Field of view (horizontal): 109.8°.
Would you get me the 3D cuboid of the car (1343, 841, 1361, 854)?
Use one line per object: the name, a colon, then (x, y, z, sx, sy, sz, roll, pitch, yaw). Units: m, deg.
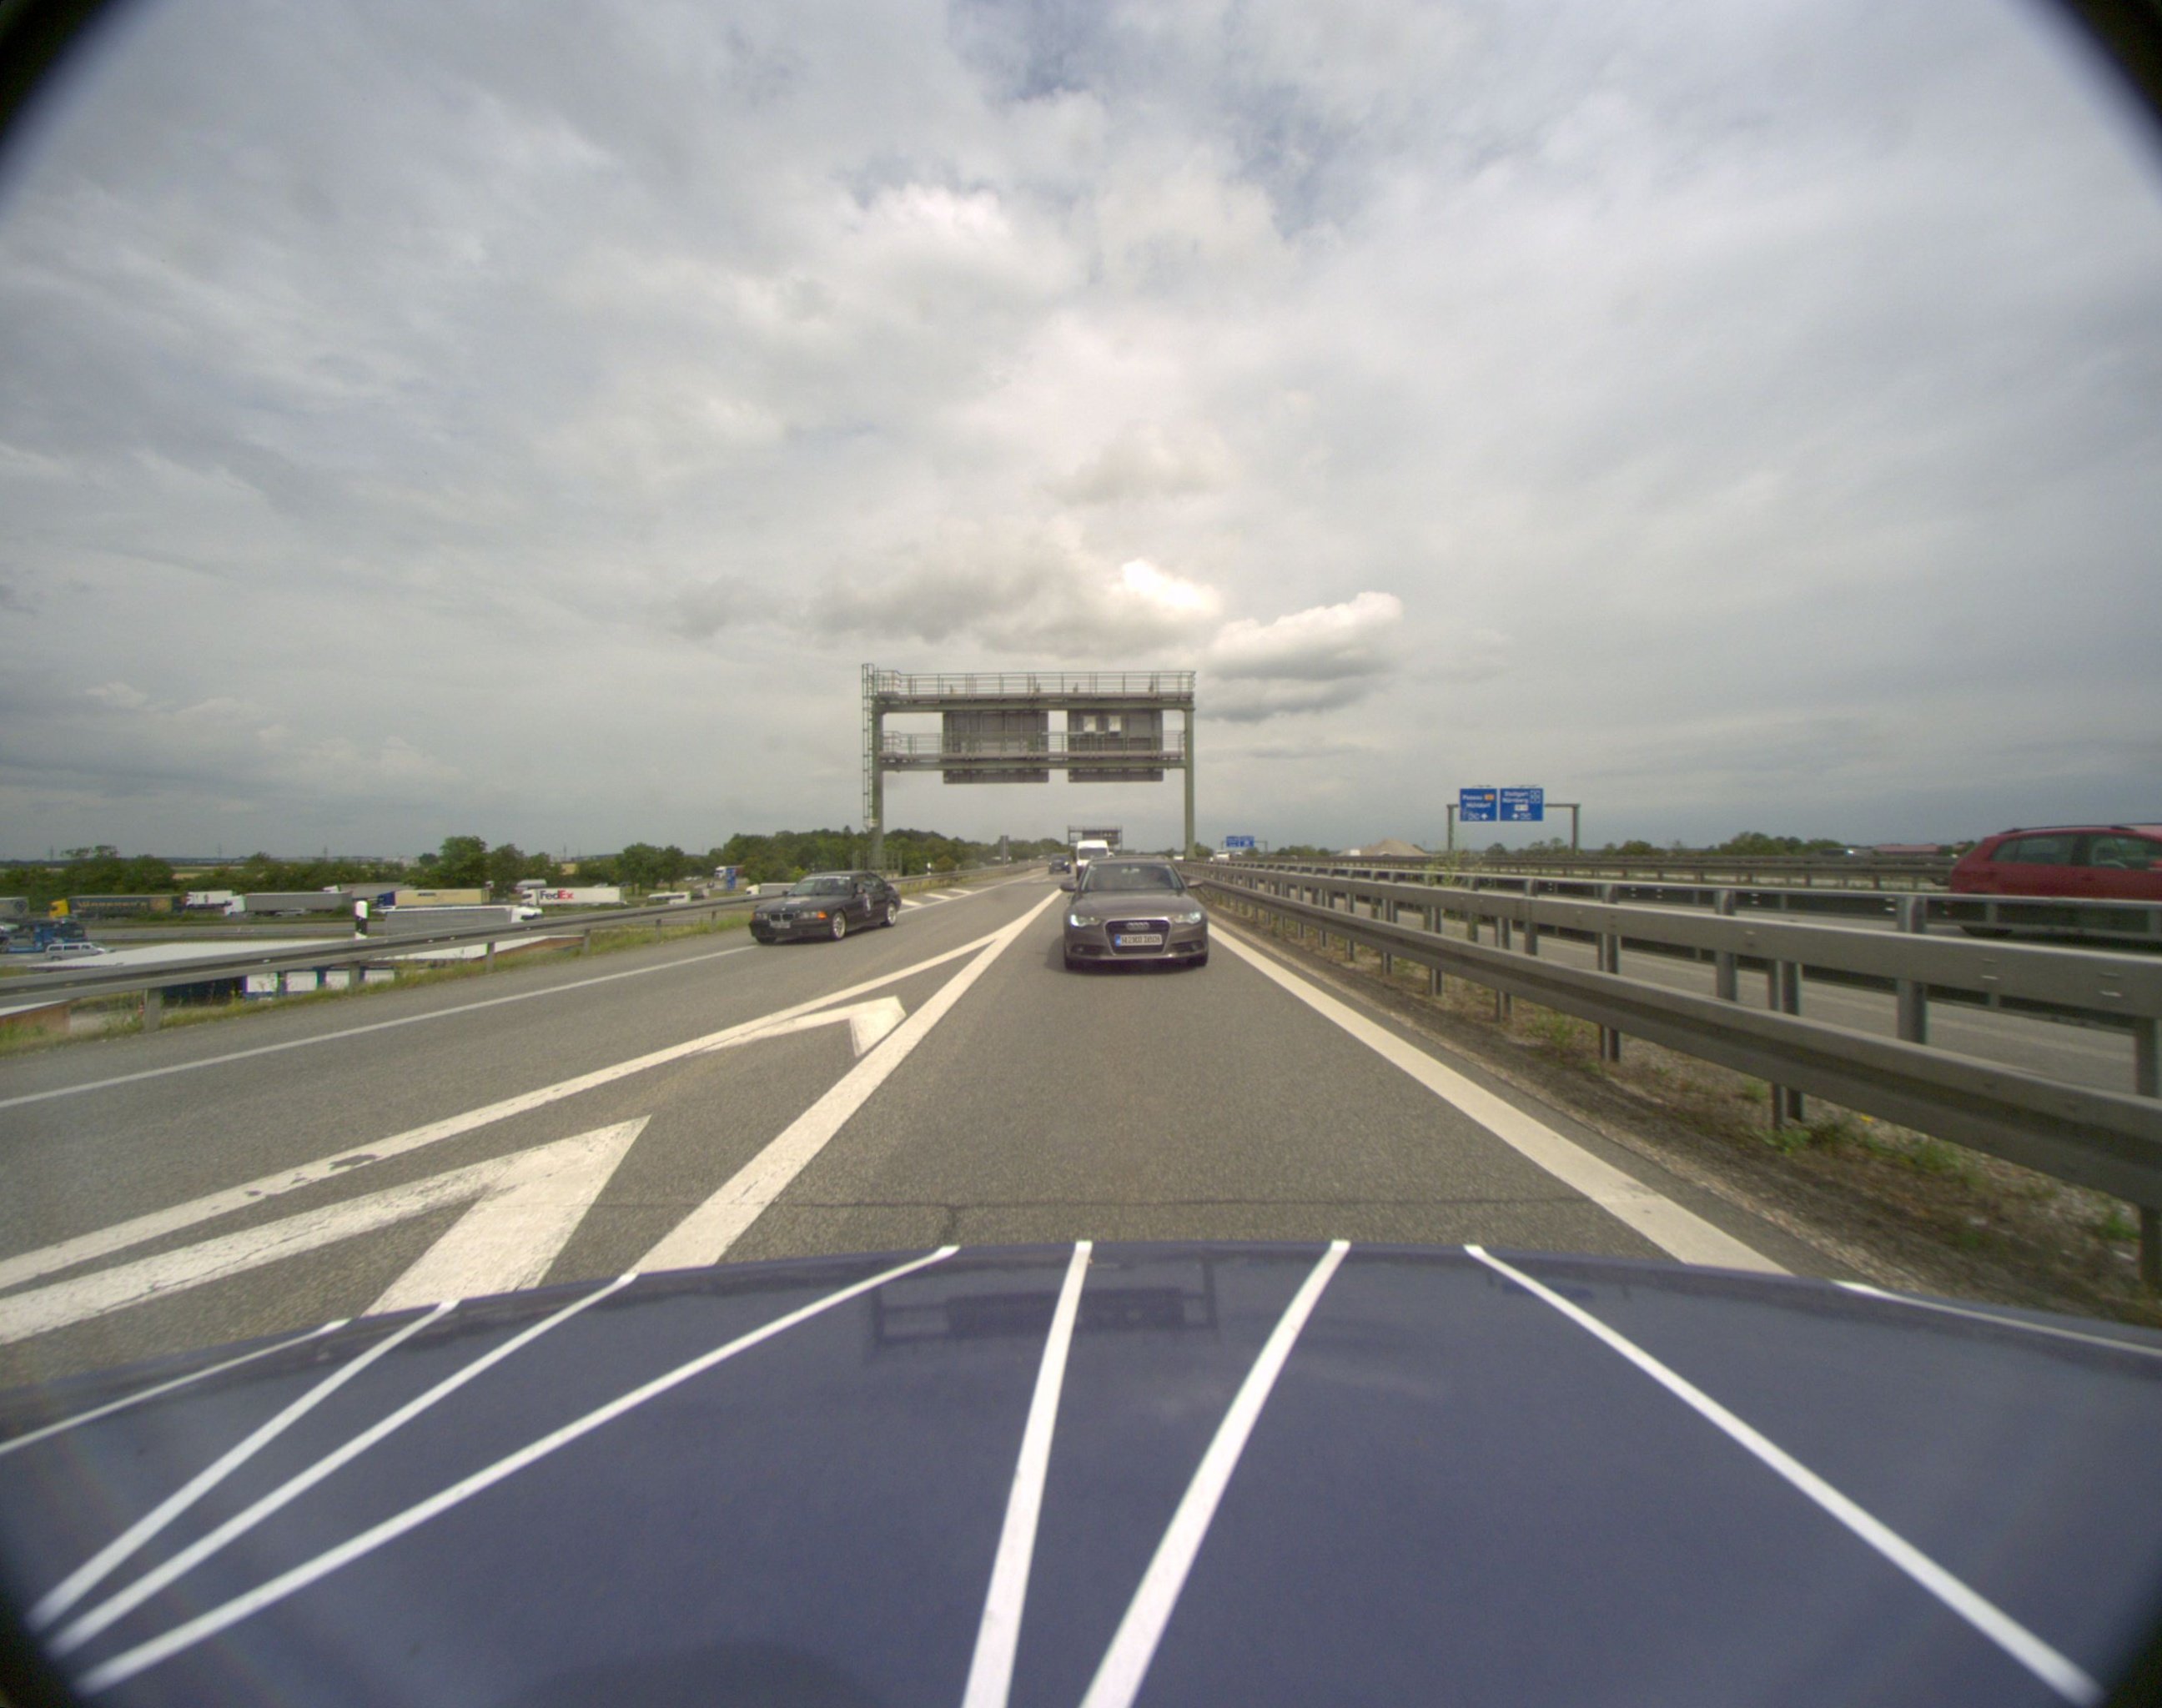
car: (51.299, -1.286, 143.827, 1.998, 2.292, 4.491, -2, 0, 2)

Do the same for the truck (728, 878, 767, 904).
truck: (-66.458, 7.364, 151.639, 6.295, 4.648, 3.928, -2, 1, -12)

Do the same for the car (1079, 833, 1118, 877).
car: (0.970, 0.080, 45.984, 2.119, 2.439, 6.152, -2, 0, 0)

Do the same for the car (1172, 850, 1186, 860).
car: (18.614, 0.188, 144.233, 1.998, 1.739, 4.000, -2, 0, 0)

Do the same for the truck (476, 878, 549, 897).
truck: (-143.245, 8.399, 191.877, 3.078, 4.065, 14.760, -2, 0, 29)

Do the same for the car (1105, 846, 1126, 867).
car: (3.226, 0.248, 71.379, 1.845, 1.870, 4.289, -2, 0, 2)

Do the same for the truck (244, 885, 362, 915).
truck: (-138.222, 8.169, 135.291, 14.888, 4.527, 4.005, -2, 0, -11)

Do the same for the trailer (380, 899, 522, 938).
trailer: (-81.060, 8.230, 98.095, 14.253, 4.075, 2.987, -2, 0, -12)

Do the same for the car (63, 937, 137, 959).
car: (-108.425, 10.369, 84.049, 4.726, 2.001, 1.995, 1, -4, -42)

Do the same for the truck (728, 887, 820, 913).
truck: (-48.421, 7.250, 120.220, 13.146, 3.657, 2.494, -1, 0, -14)

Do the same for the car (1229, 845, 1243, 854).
car: (31.824, -0.907, 155.784, 1.915, 1.783, 4.823, -5, 0, 2)

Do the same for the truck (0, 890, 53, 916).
truck: (-181.226, 8.288, 125.225, 14.897, 4.007, 4.139, -2, 0, -12)

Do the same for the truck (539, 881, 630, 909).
truck: (-94.506, 7.822, 144.833, 13.795, 4.527, 4.004, -2, 0, -12)

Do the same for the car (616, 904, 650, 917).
car: (-70.557, 8.889, 119.733, 4.001, 1.592, 1.875, -5, 0, -13)

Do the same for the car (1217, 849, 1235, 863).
car: (22.651, 0.324, 118.662, 1.998, 2.002, 4.467, -2, 0, 3)

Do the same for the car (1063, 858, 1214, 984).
car: (0.770, 0.817, 11.077, 1.747, 1.380, 4.000, -2, 1, 2)

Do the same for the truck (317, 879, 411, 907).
truck: (-158.498, 8.522, 168.243, 3.851, 5.184, 14.887, -2, 0, 44)

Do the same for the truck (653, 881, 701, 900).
truck: (-76.627, 6.833, 144.259, 7.569, 3.178, 2.230, -2, 0, -12)

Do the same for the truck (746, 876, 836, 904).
truck: (-58.318, 7.175, 153.321, 16.177, 4.673, 3.990, -2, 1, -11)

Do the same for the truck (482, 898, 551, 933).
truck: (-73.956, 8.054, 99.637, 6.531, 4.075, 2.987, -2, 0, -12)

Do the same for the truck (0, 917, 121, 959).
truck: (-125.811, 10.079, 88.216, 19.055, 4.036, 3.989, -2, 1, -15)

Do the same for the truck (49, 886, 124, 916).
truck: (-168.320, 7.870, 128.672, 6.499, 4.472, 4.069, -2, 0, -10)

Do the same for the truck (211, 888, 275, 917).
truck: (-147.100, 8.463, 133.512, 6.295, 4.484, 3.928, -2, 0, -11)

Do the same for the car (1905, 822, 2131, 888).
car: (31.124, 0.038, 25.512, 1.998, 1.851, 4.504, -5, 0, 2)

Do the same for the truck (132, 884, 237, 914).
truck: (-178.751, 8.893, 151.818, 13.025, 5.011, 3.942, -2, 0, -40)

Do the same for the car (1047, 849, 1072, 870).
car: (-1.873, 0.508, 67.274, 1.929, 1.761, 4.000, -2, 0, 1)

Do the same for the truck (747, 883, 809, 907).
truck: (-58.899, 7.980, 147.993, 10.789, 4.047, 3.237, -2, 0, -15)

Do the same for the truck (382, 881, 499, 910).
truck: (-117.815, 7.551, 140.111, 16.370, 4.527, 4.004, -2, 0, -12)

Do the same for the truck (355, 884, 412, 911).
truck: (-126.722, 7.867, 138.168, 6.295, 4.484, 3.928, -2, 0, -12)

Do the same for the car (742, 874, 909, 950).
car: (-5.305, 1.145, 16.450, 1.707, 1.273, 4.368, -2, 0, 6)

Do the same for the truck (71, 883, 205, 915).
truck: (-161.060, 7.623, 129.971, 15.307, 4.527, 4.005, -2, 0, -10)

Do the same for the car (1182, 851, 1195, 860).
car: (22.845, 0.360, 161.546, 1.998, 1.870, 4.000, -2, 0, 0)

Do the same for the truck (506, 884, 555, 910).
truck: (-103.400, 8.082, 142.880, 6.295, 4.484, 3.928, -2, 0, -12)

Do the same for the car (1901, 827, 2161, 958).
car: (13.668, 0.436, 9.639, 1.824, 1.536, 4.355, -2, 0, 1)
